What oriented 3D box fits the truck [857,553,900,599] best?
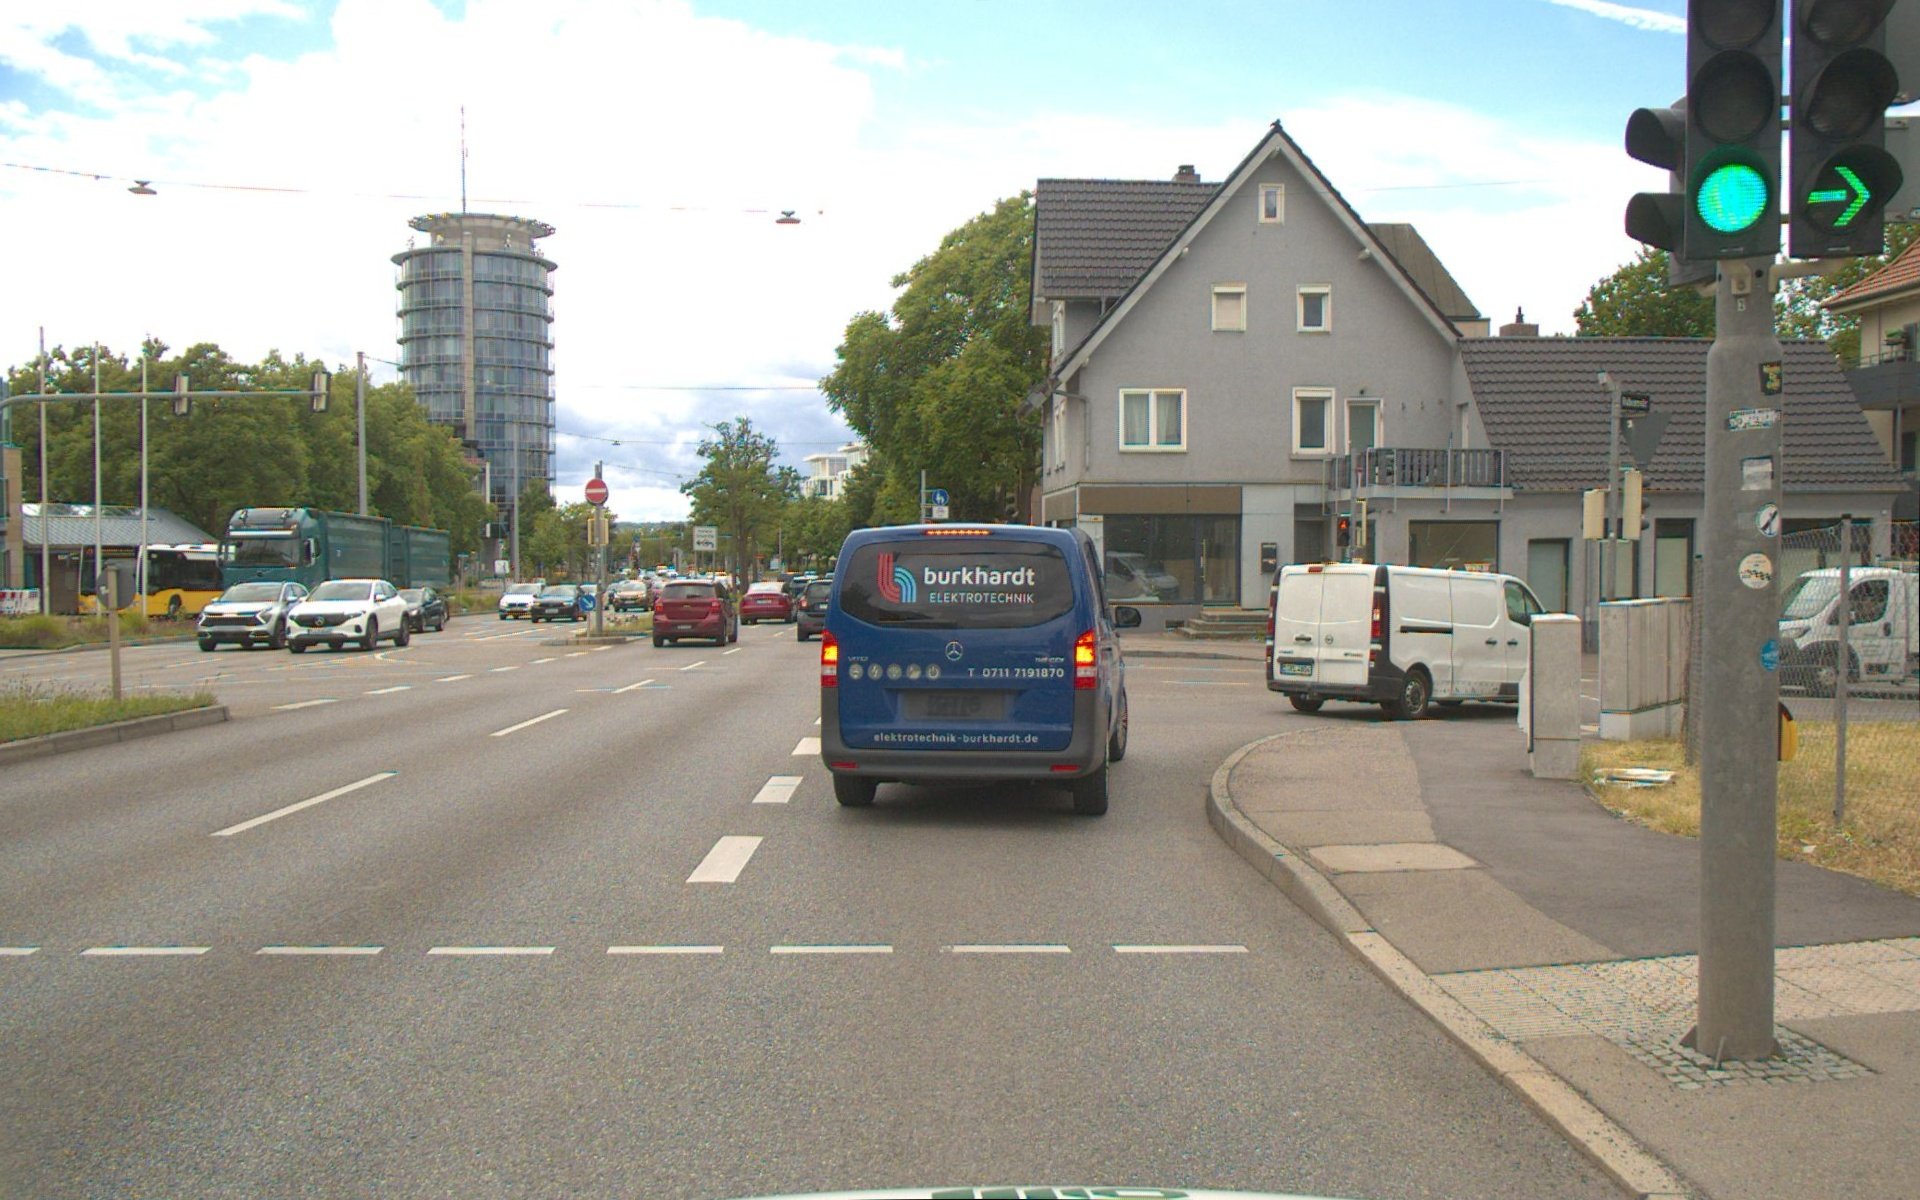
[{"bbox_3d":[-4.081,-1.214,83.511,1.953,2.203,5.558,1,0,-1],"label":"truck"}]

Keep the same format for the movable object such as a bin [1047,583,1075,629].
[{"bbox_3d":[2.505,0.140,41.062,0.586,1.120,0.572,-1,0,-9],"label":"movable object such as a bin"}]

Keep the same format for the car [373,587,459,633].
[{"bbox_3d":[-18.002,0.311,54.893,1.762,1.442,3.997,-1,1,-4],"label":"car"}]

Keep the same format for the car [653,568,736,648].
[{"bbox_3d":[-6.234,0.151,39.150,1.713,1.753,3.995,-1,1,-6],"label":"car"}]

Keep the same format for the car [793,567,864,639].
[{"bbox_3d":[-3.354,0.049,42.585,1.712,1.753,3.997,-1,1,-4],"label":"car"}]

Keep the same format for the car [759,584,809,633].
[{"bbox_3d":[-7.902,0.349,73.899,1.957,2.048,3.991,1,1,-10],"label":"car"}]

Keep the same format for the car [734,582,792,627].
[{"bbox_3d":[-7.004,0.175,58.532,1.834,1.512,3.990,0,-1,-10],"label":"car"}]

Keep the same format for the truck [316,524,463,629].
[{"bbox_3d":[-22.189,-0.902,64.866,3.301,3.792,8.022,-1,0,-3],"label":"truck"}]

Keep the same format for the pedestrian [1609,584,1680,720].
[{"bbox_3d":[8.370,0.635,20.244,0.592,1.625,0.609,0,-2,-3],"label":"pedestrian"}]

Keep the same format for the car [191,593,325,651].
[{"bbox_3d":[-17.134,0.505,40.583,1.793,1.284,3.997,-1,1,-4],"label":"car"}]

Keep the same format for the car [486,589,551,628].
[{"bbox_3d":[-19.295,0.361,72.473,1.954,1.601,3.997,-1,1,-4],"label":"car"}]

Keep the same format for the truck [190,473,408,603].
[{"bbox_3d":[-21.368,-1.853,54.395,3.301,3.792,11.271,0,0,-4],"label":"truck"}]

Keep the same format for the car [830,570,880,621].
[{"bbox_3d":[-3.810,-0.181,60.310,1.711,1.753,3.998,-1,1,-3],"label":"car"}]

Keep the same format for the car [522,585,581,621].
[{"bbox_3d":[-16.095,0.100,65.401,1.957,1.355,4.434,-1,1,-10],"label":"car"}]

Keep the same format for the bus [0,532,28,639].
[{"bbox_3d":[-30.405,-0.430,44.728,2.895,3.188,12.165,0,0,3],"label":"bus"}]

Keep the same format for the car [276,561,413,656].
[{"bbox_3d":[-14.111,0.165,38.161,1.955,2.049,4.174,-1,1,-6],"label":"car"}]

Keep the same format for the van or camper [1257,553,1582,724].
[{"bbox_3d":[6.398,0.428,22.677,5.056,2.048,1.968,-1,3,-44],"label":"van or camper"}]

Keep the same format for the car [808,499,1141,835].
[{"bbox_3d":[0.322,0.380,12.294,1.906,2.000,4.545,1,0,7],"label":"car"}]

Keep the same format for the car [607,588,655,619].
[{"bbox_3d":[-17.275,0.153,86.945,1.954,1.542,3.997,-1,1,-4],"label":"car"}]

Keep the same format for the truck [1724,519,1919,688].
[{"bbox_3d":[16.864,0.124,28.701,6.257,2.748,1.999,2,0,-2],"label":"truck"}]

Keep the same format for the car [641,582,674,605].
[{"bbox_3d":[-22.353,-0.490,122.398,1.954,1.601,3.997,-1,1,-4],"label":"car"}]

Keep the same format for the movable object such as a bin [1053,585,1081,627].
[{"bbox_3d":[2.616,0.146,40.468,0.586,1.004,0.572,-1,0,-9],"label":"movable object such as a bin"}]
